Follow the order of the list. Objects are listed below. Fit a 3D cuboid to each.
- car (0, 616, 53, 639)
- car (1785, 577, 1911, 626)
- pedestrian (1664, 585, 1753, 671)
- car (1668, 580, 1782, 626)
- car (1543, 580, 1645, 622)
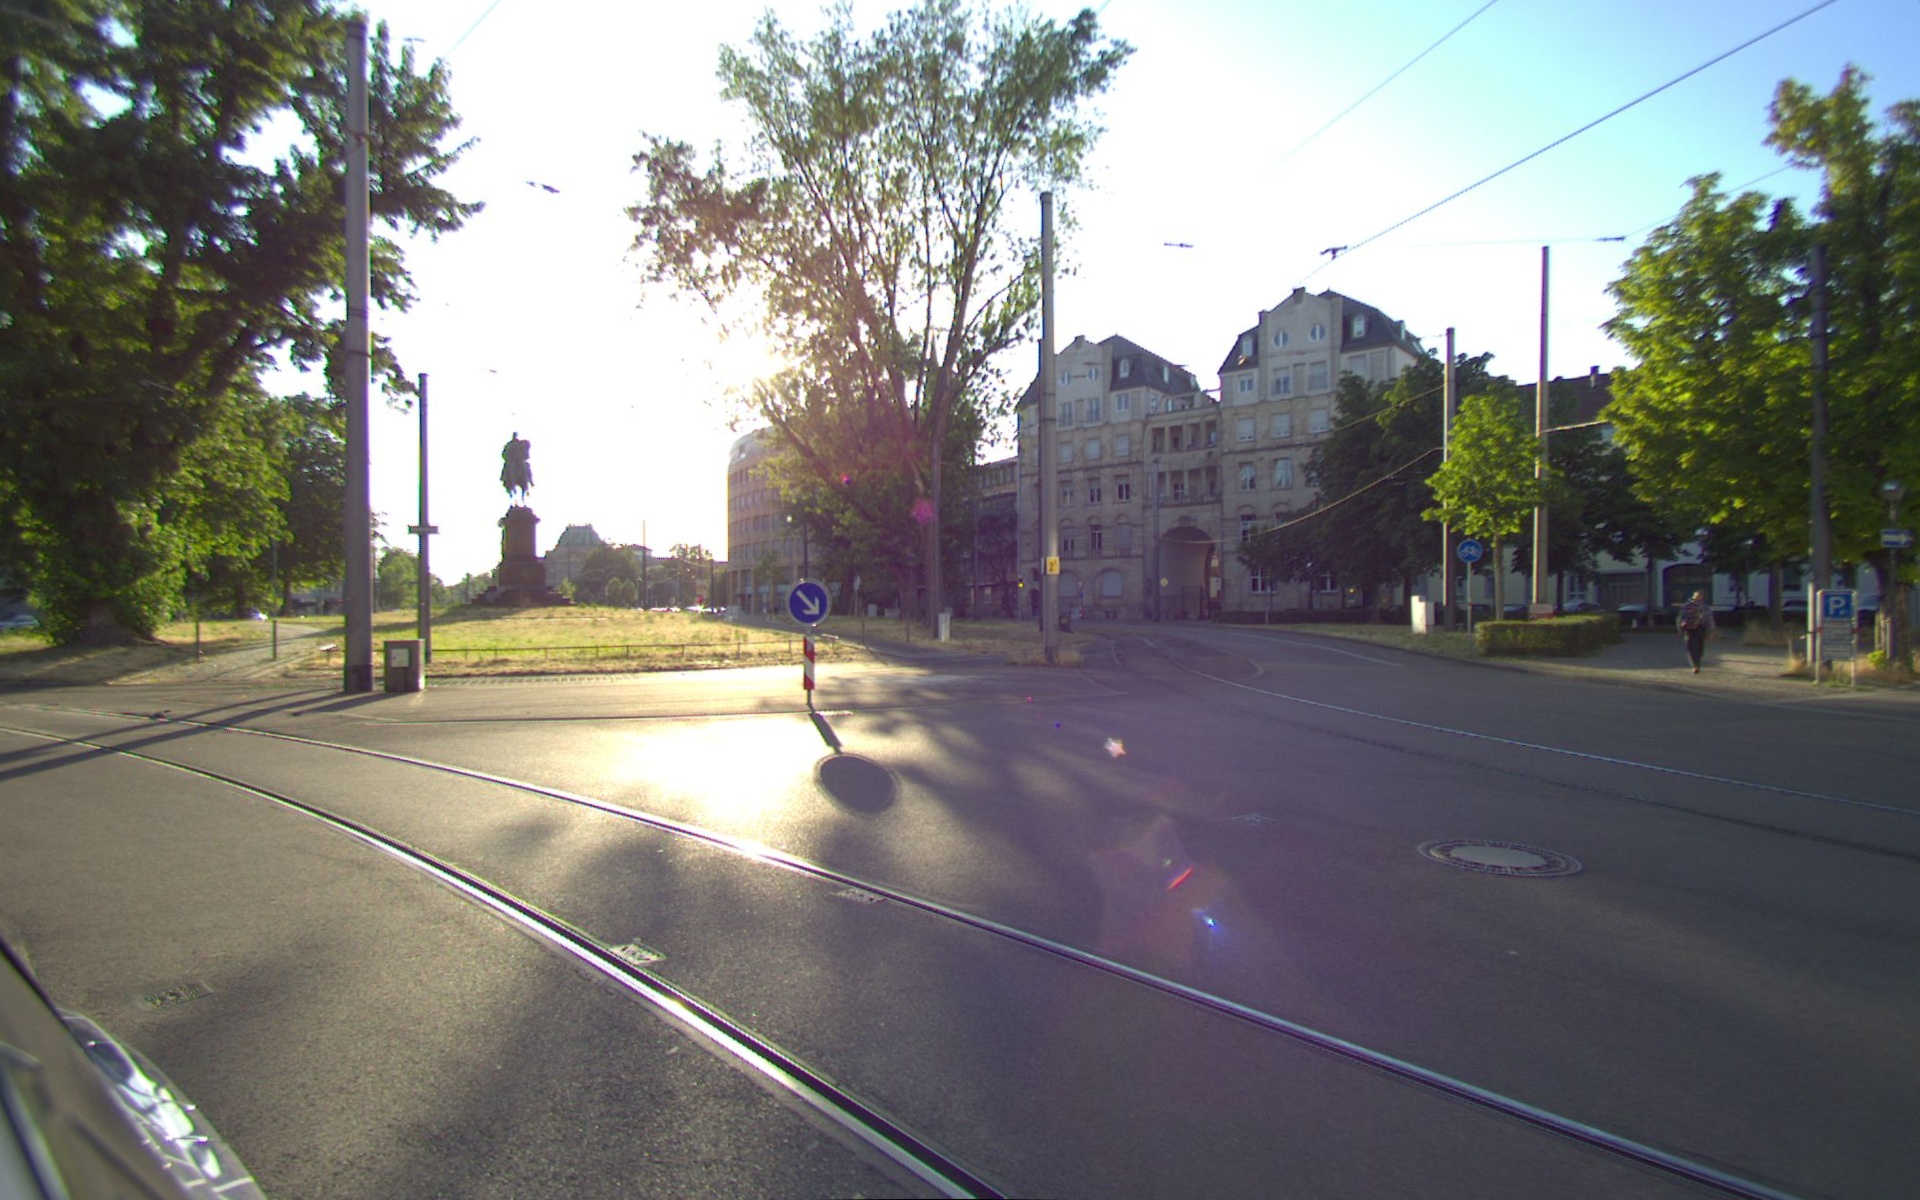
[{"bbox_3d":[-71.886,2.099,76.895,1.971,1.617,4.525,-1,0,-2],"label":"car"},{"bbox_3d":[38.422,0.071,43.857,4.000,2.029,1.972,-1,0,43],"label":"car"},{"bbox_3d":[15.502,0.561,20.995,0.892,1.715,1.165,0,0,-11],"label":"pedestrian"},{"bbox_3d":[35.258,0.137,46.687,4.000,2.029,1.972,-1,0,43],"label":"car"},{"bbox_3d":[31.293,0.050,49.986,4.000,2.029,1.972,-1,0,43],"label":"car"}]
